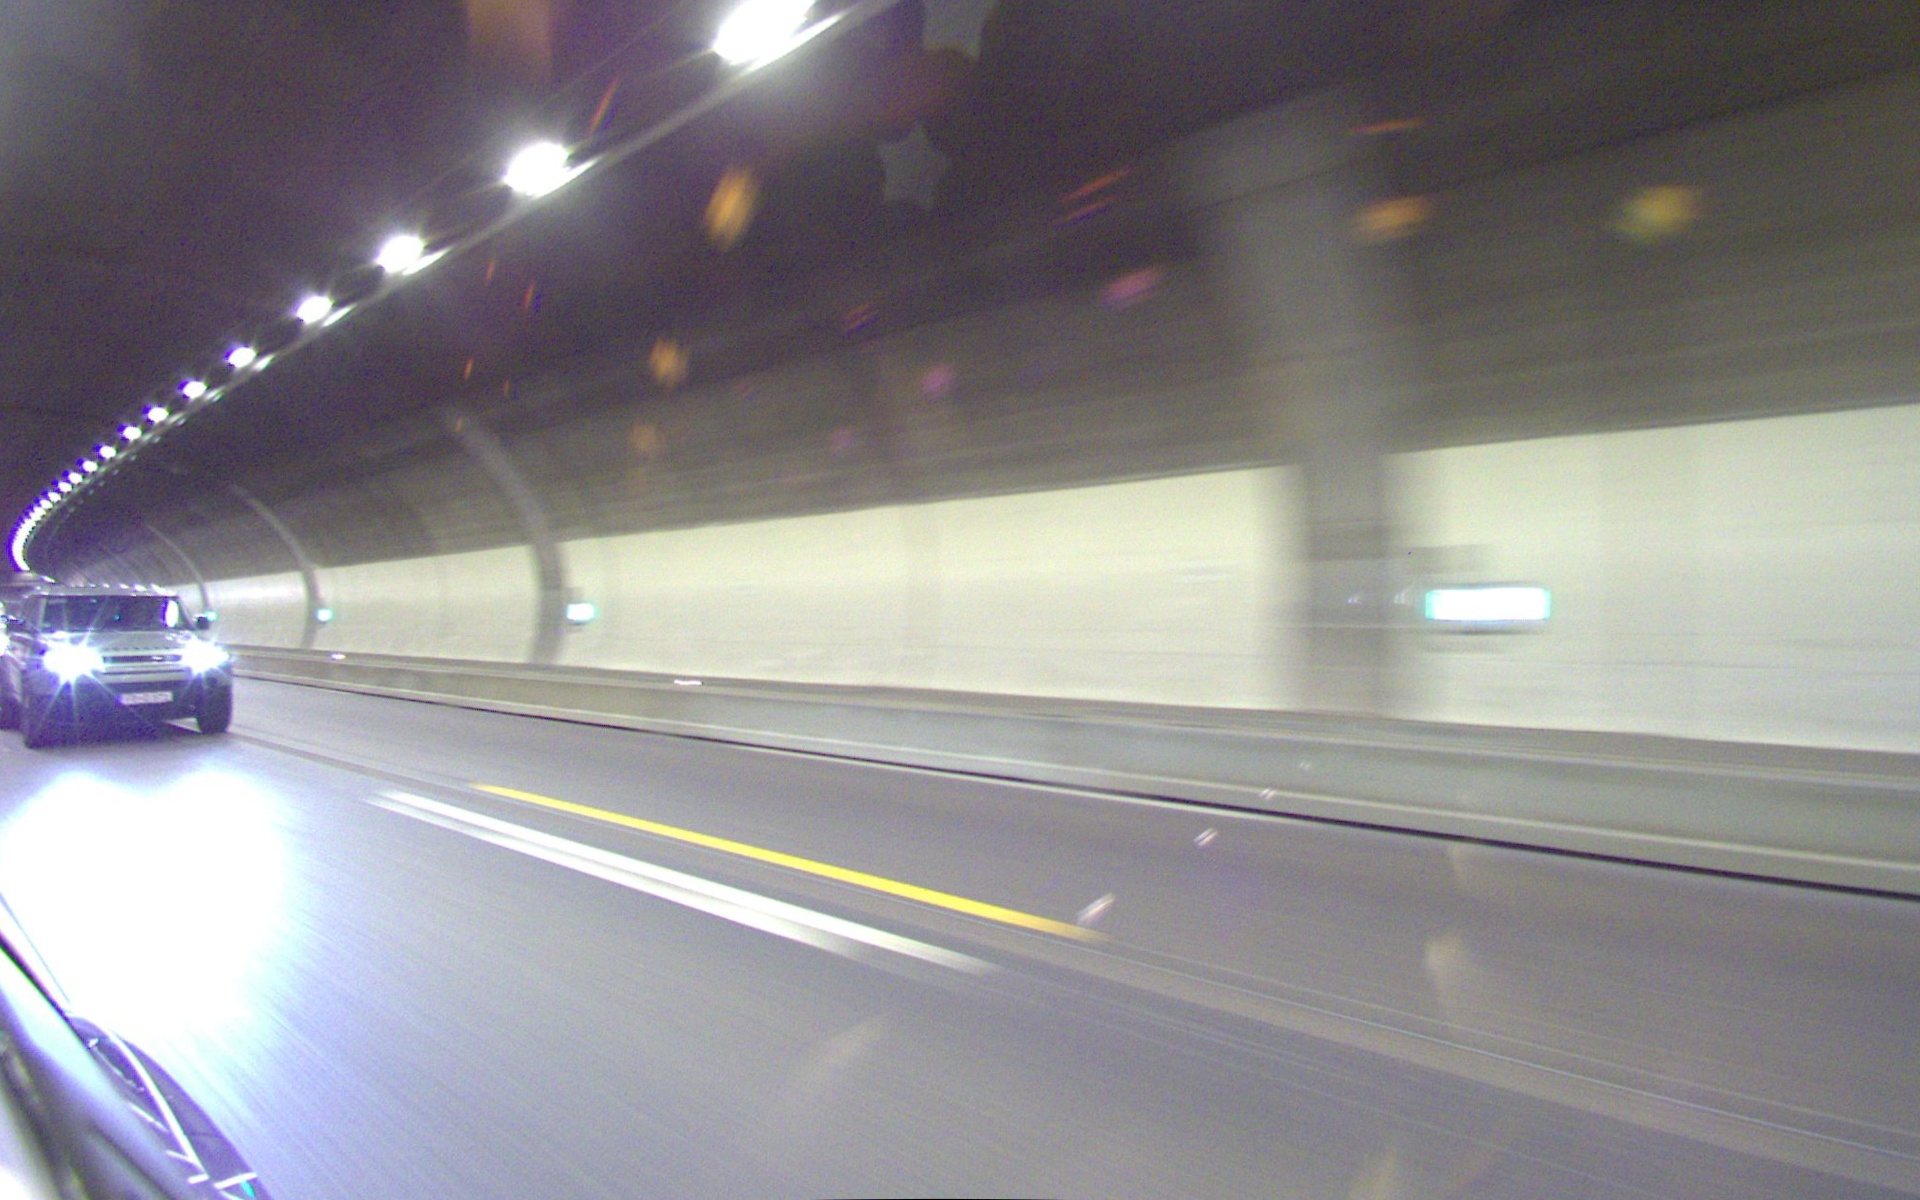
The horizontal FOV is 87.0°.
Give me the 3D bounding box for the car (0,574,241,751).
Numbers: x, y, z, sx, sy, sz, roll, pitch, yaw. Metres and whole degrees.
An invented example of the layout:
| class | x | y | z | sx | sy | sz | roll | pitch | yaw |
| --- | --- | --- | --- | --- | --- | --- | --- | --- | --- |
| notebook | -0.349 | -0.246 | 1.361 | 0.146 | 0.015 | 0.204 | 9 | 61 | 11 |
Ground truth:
| class | x | y | z | sx | sy | sz | roll | pitch | yaw |
| --- | --- | --- | --- | --- | --- | --- | --- | --- | --- |
| car | -11.418 | 0.709 | 13.509 | 5.454 | 1.909 | 1.971 | -1 | -1 | 44 |
